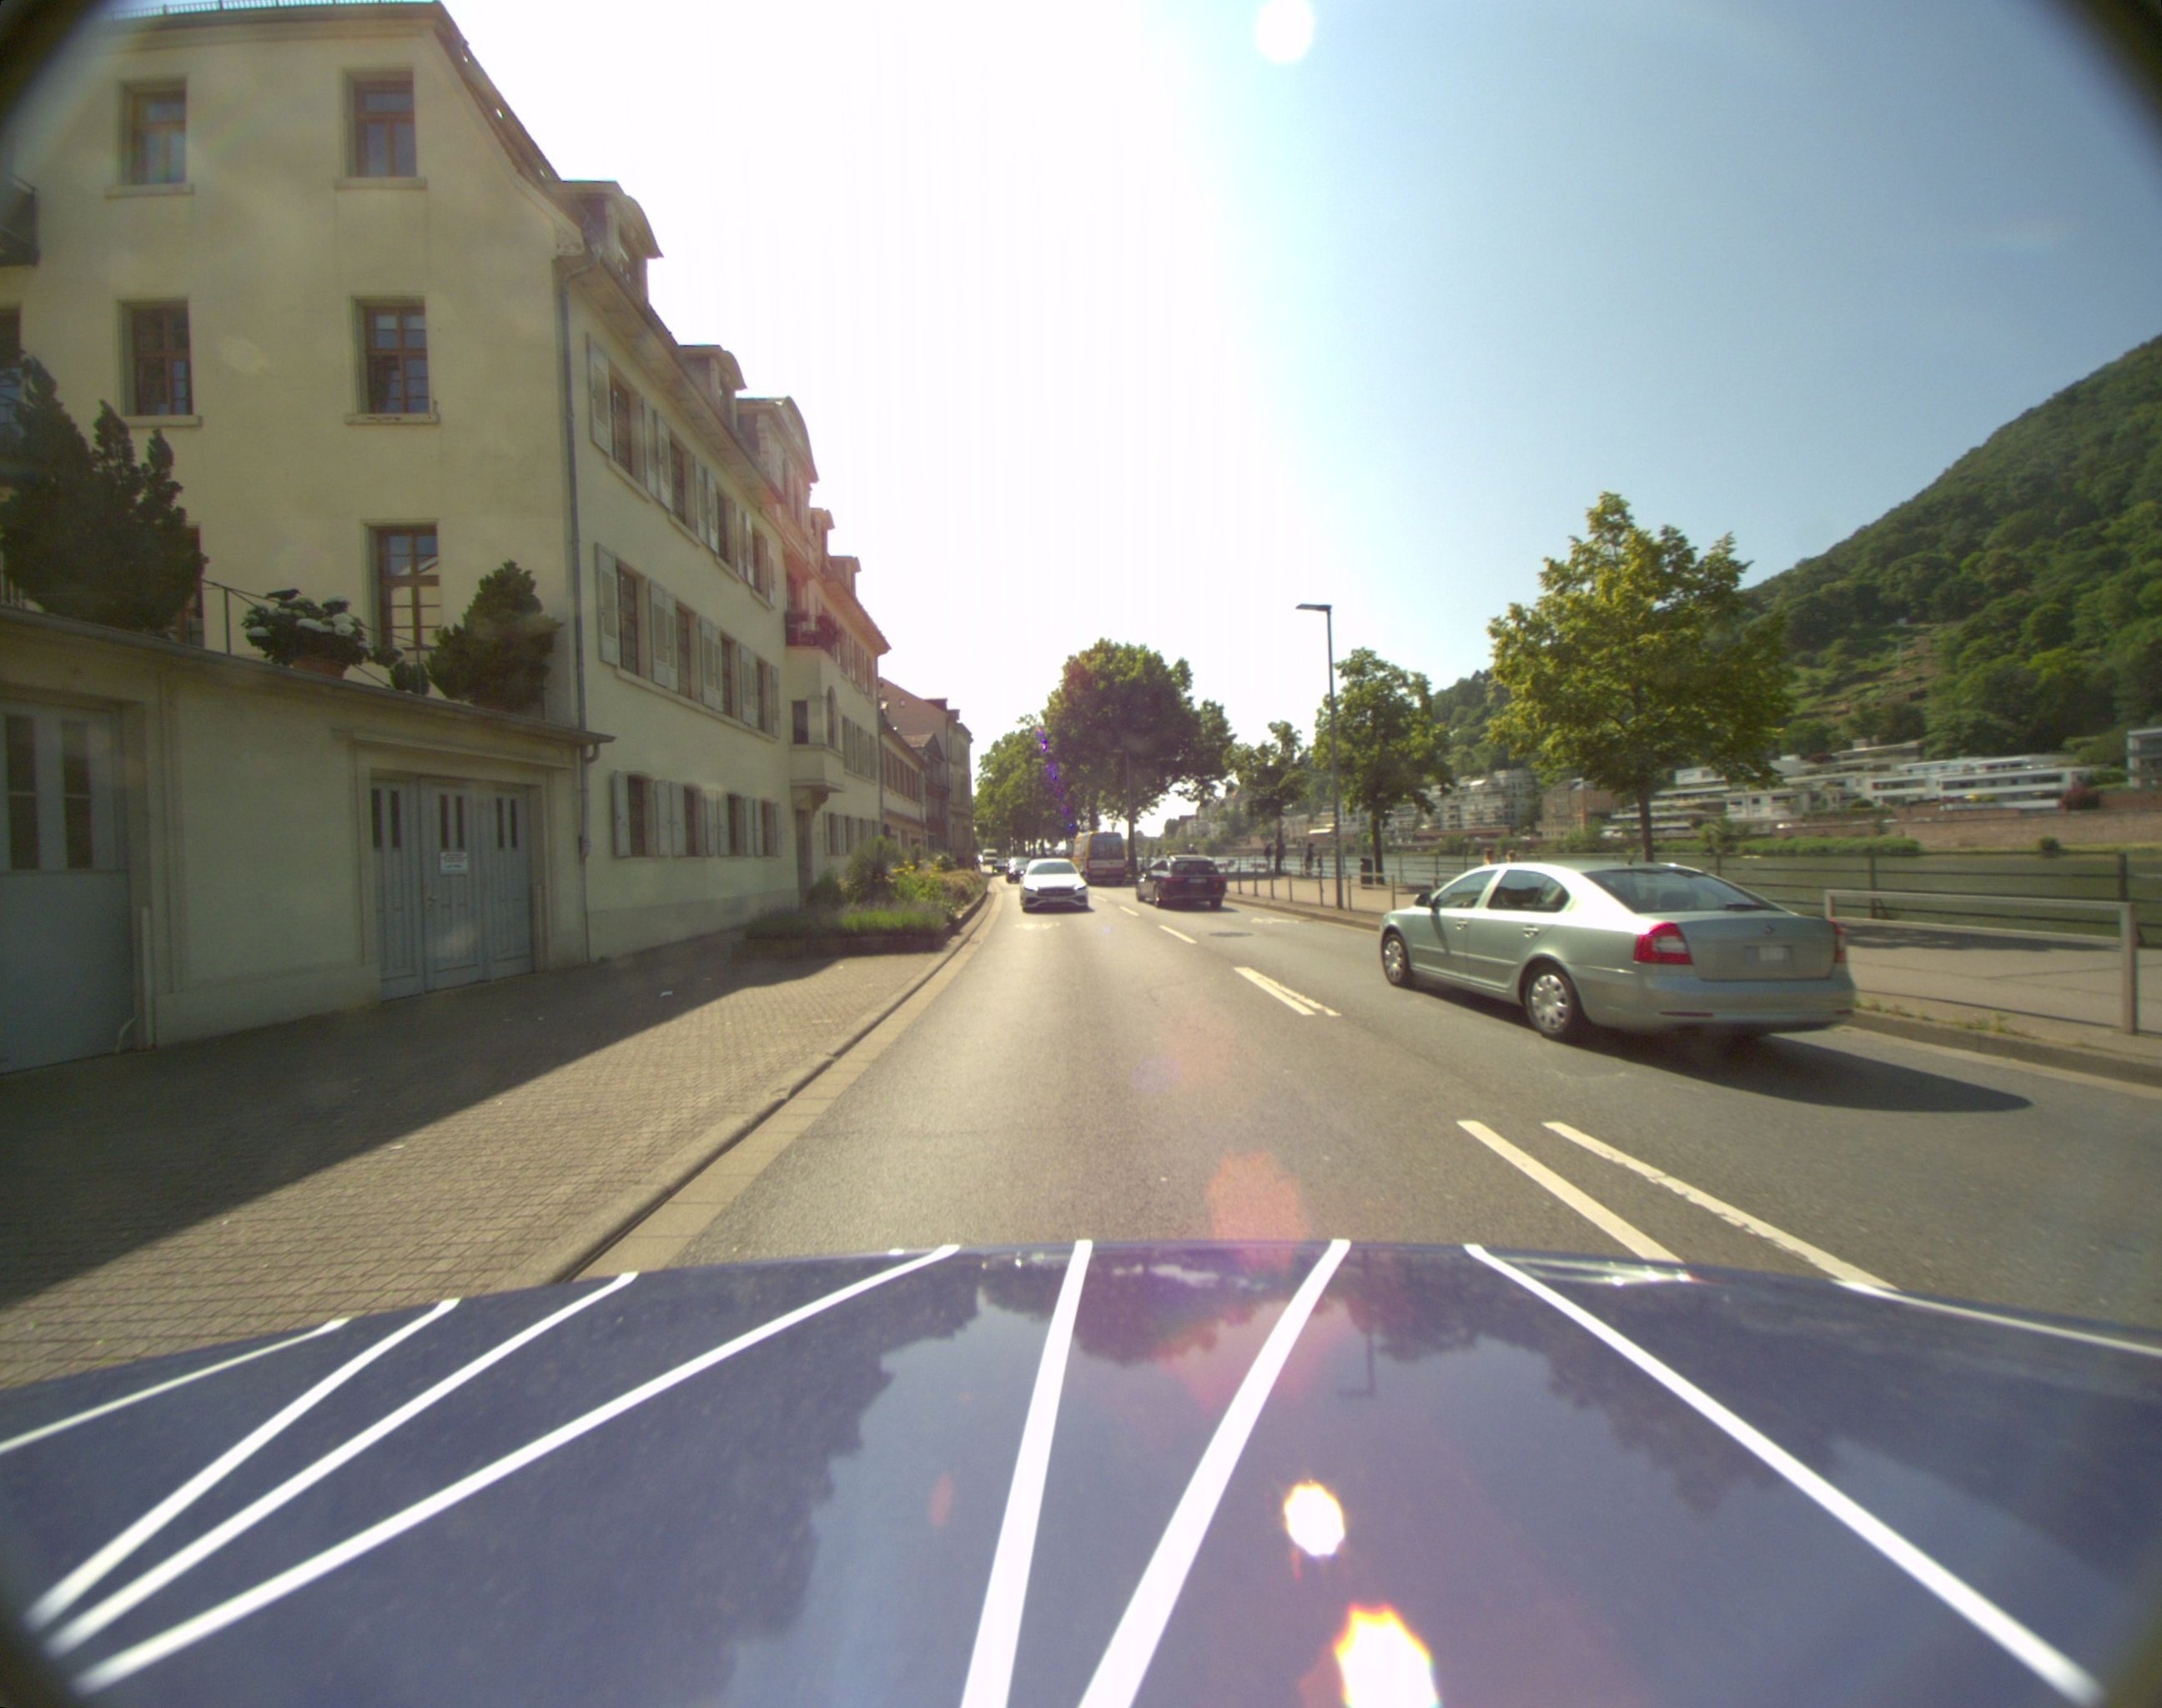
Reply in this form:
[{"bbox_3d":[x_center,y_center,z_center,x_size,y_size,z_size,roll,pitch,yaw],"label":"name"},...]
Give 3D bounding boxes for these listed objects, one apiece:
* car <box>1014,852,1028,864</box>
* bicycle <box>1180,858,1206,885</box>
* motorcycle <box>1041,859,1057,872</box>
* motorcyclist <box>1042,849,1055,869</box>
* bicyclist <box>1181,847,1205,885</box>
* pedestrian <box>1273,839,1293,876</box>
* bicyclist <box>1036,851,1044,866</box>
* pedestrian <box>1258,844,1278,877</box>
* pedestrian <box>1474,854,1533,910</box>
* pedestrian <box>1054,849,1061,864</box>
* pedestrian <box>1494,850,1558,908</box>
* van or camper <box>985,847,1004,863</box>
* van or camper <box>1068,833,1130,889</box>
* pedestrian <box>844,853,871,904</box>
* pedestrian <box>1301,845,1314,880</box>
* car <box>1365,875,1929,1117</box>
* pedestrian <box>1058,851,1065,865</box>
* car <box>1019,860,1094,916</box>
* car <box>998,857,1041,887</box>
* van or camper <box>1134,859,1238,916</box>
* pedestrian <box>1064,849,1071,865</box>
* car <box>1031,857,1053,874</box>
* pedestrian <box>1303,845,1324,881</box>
[{"bbox_3d":[-8.091,0.543,102.245,1.706,1.436,4.089,-3,-1,-8],"label":"car"},{"bbox_3d":[5.006,0.785,34.077,0.713,1.162,1.895,-2,0,-5],"label":"bicycle"},{"bbox_3d":[-2.609,0.918,61.522,0.886,1.071,2.325,-1,0,-12],"label":"motorcycle"},{"bbox_3d":[-2.634,0.419,61.561,0.881,1.574,1.024,-1,1,-9],"label":"motorcyclist"},{"bbox_3d":[5.001,0.533,33.938,0.743,1.658,1.089,-2,0,-6],"label":"bicyclist"},{"bbox_3d":[10.813,0.159,40.608,0.696,1.934,0.886,-2,1,-9],"label":"pedestrian"},{"bbox_3d":[-4.413,0.482,82.229,0.769,1.522,1.025,-3,-1,-6],"label":"bicyclist"},{"bbox_3d":[10.029,0.353,40.826,0.758,1.673,0.658,-4,1,-6],"label":"pedestrian"},{"bbox_3d":[10.107,0.656,18.207,0.939,1.273,0.849,-2,1,1],"label":"pedestrian"},{"bbox_3d":[-2.706,0.300,85.961,0.655,1.609,0.695,-2,1,-9],"label":"pedestrian"},{"bbox_3d":[10.117,0.554,17.292,0.939,1.273,0.849,-2,1,1],"label":"pedestrian"},{"bbox_3d":[-12.971,0.135,113.568,2.439,2.271,6.199,-2,1,-9],"label":"van or camper"},{"bbox_3d":[0.801,0.320,39.284,2.094,2.542,7.087,-2,1,-7],"label":"van or camper"},{"bbox_3d":[-7.687,0.835,26.145,0.764,1.703,0.695,1,1,-5],"label":"pedestrian"},{"bbox_3d":[10.588,0.389,35.534,0.415,1.588,0.450,-2,1,-1],"label":"pedestrian"},{"bbox_3d":[4.401,0.951,6.953,1.818,1.420,4.309,0,0,-3],"label":"car"},{"bbox_3d":[-2.452,0.511,95.897,0.713,1.754,0.971,-2,1,-9],"label":"pedestrian"},{"bbox_3d":[-0.830,0.909,22.544,1.876,1.416,4.742,-1,0,-6],"label":"car"},{"bbox_3d":[-3.198,0.892,40.556,1.875,1.415,4.744,-3,0,-1],"label":"car"},{"bbox_3d":[2.944,0.902,22.465,2.000,1.446,4.679,0,0,-6],"label":"van or camper"},{"bbox_3d":[-1.481,0.300,83.064,0.655,1.703,0.792,-1,1,-15],"label":"pedestrian"},{"bbox_3d":[-3.588,1.005,69.252,1.706,1.450,3.999,-1,0,-8],"label":"car"},{"bbox_3d":[10.701,0.394,34.997,0.695,1.606,0.663,-2,1,-1],"label":"pedestrian"}]
